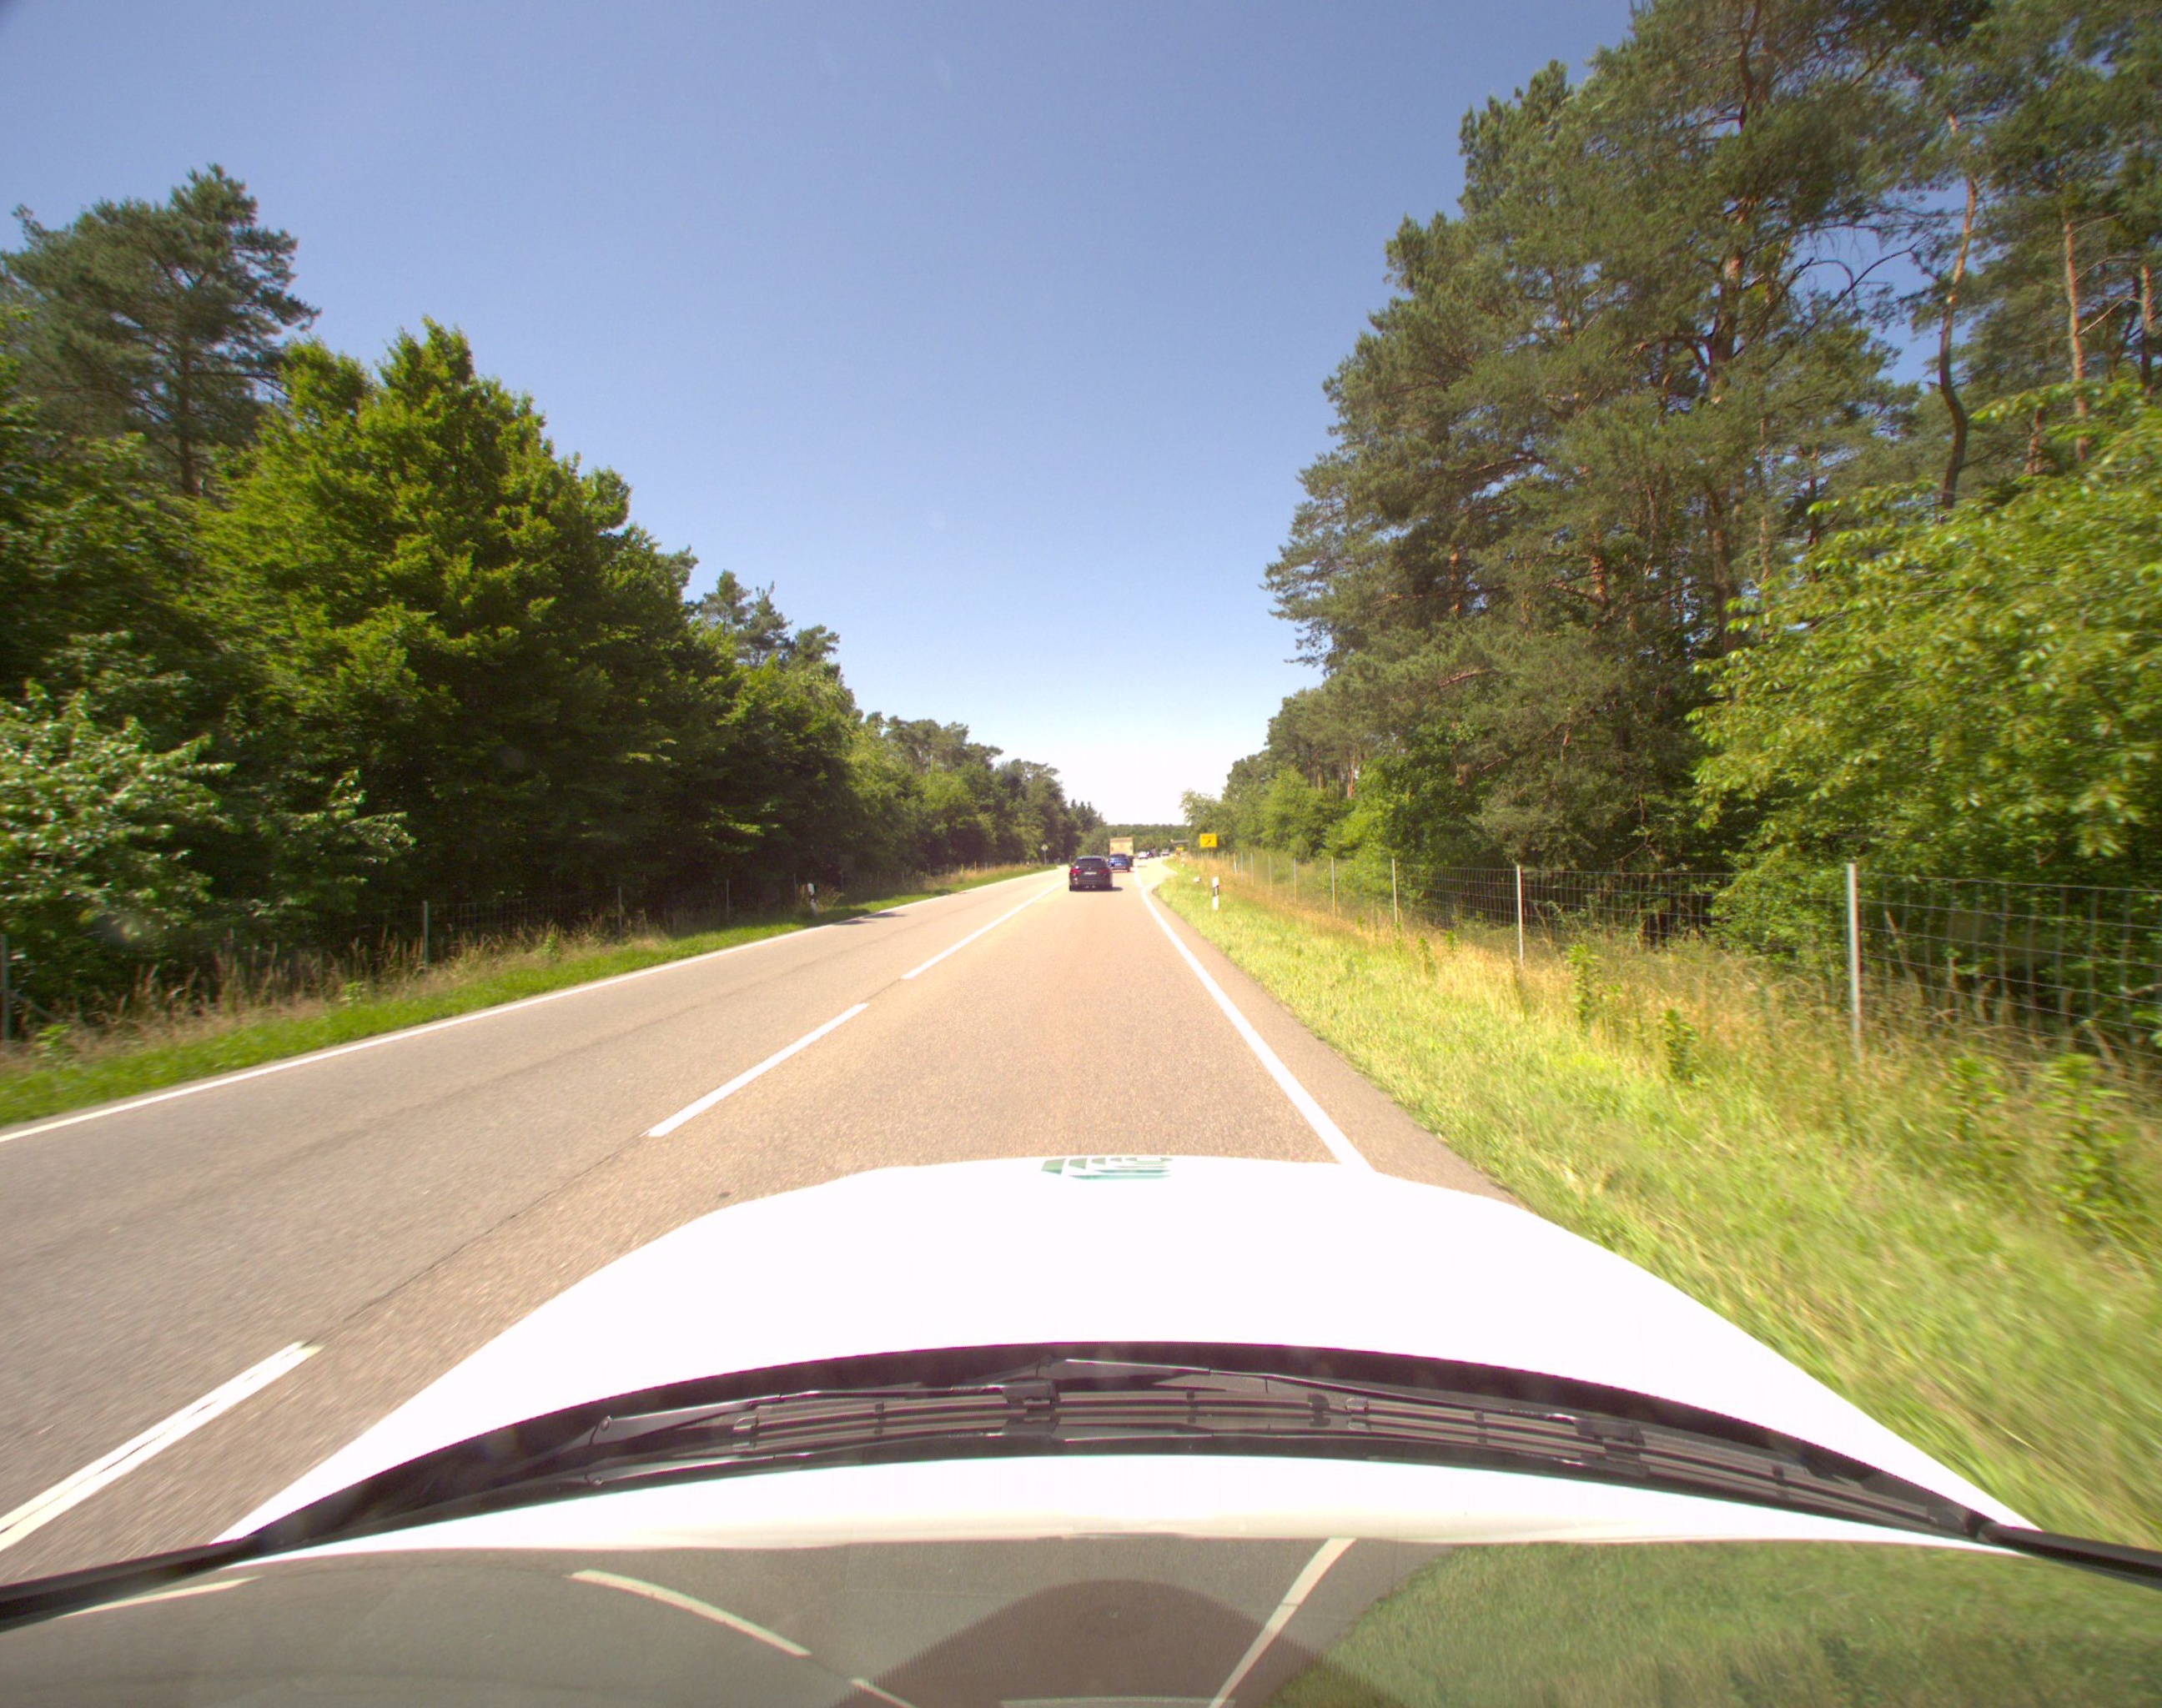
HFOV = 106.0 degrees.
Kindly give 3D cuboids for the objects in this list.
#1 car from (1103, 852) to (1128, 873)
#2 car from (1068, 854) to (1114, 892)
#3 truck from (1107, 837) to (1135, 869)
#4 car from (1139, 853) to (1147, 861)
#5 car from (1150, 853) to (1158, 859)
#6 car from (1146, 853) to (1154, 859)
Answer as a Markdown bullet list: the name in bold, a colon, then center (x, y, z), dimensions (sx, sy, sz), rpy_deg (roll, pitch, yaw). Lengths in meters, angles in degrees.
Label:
- **car**: center (2.812, 0.692, 67.890), dimensions (1.940, 1.541, 4.001), rpy_deg (-3, 0, 1)
- **car**: center (0.388, 0.777, 35.427), dimensions (1.815, 1.470, 3.999), rpy_deg (-2, 0, -1)
- **truck**: center (4.596, -0.159, 92.287), dimensions (2.953, 3.387, 6.445), rpy_deg (-2, 0, 4)
- **car**: center (13.859, 0.664, 182.060), dimensions (1.854, 1.605, 4.006), rpy_deg (0, 0, 5)
- **car**: center (21.055, 0.624, 235.006), dimensions (1.983, 1.636, 4.007), rpy_deg (-3, 0, 6)
- **car**: center (17.855, 0.536, 211.339), dimensions (1.984, 1.420, 4.005), rpy_deg (-1, 0, 5)
